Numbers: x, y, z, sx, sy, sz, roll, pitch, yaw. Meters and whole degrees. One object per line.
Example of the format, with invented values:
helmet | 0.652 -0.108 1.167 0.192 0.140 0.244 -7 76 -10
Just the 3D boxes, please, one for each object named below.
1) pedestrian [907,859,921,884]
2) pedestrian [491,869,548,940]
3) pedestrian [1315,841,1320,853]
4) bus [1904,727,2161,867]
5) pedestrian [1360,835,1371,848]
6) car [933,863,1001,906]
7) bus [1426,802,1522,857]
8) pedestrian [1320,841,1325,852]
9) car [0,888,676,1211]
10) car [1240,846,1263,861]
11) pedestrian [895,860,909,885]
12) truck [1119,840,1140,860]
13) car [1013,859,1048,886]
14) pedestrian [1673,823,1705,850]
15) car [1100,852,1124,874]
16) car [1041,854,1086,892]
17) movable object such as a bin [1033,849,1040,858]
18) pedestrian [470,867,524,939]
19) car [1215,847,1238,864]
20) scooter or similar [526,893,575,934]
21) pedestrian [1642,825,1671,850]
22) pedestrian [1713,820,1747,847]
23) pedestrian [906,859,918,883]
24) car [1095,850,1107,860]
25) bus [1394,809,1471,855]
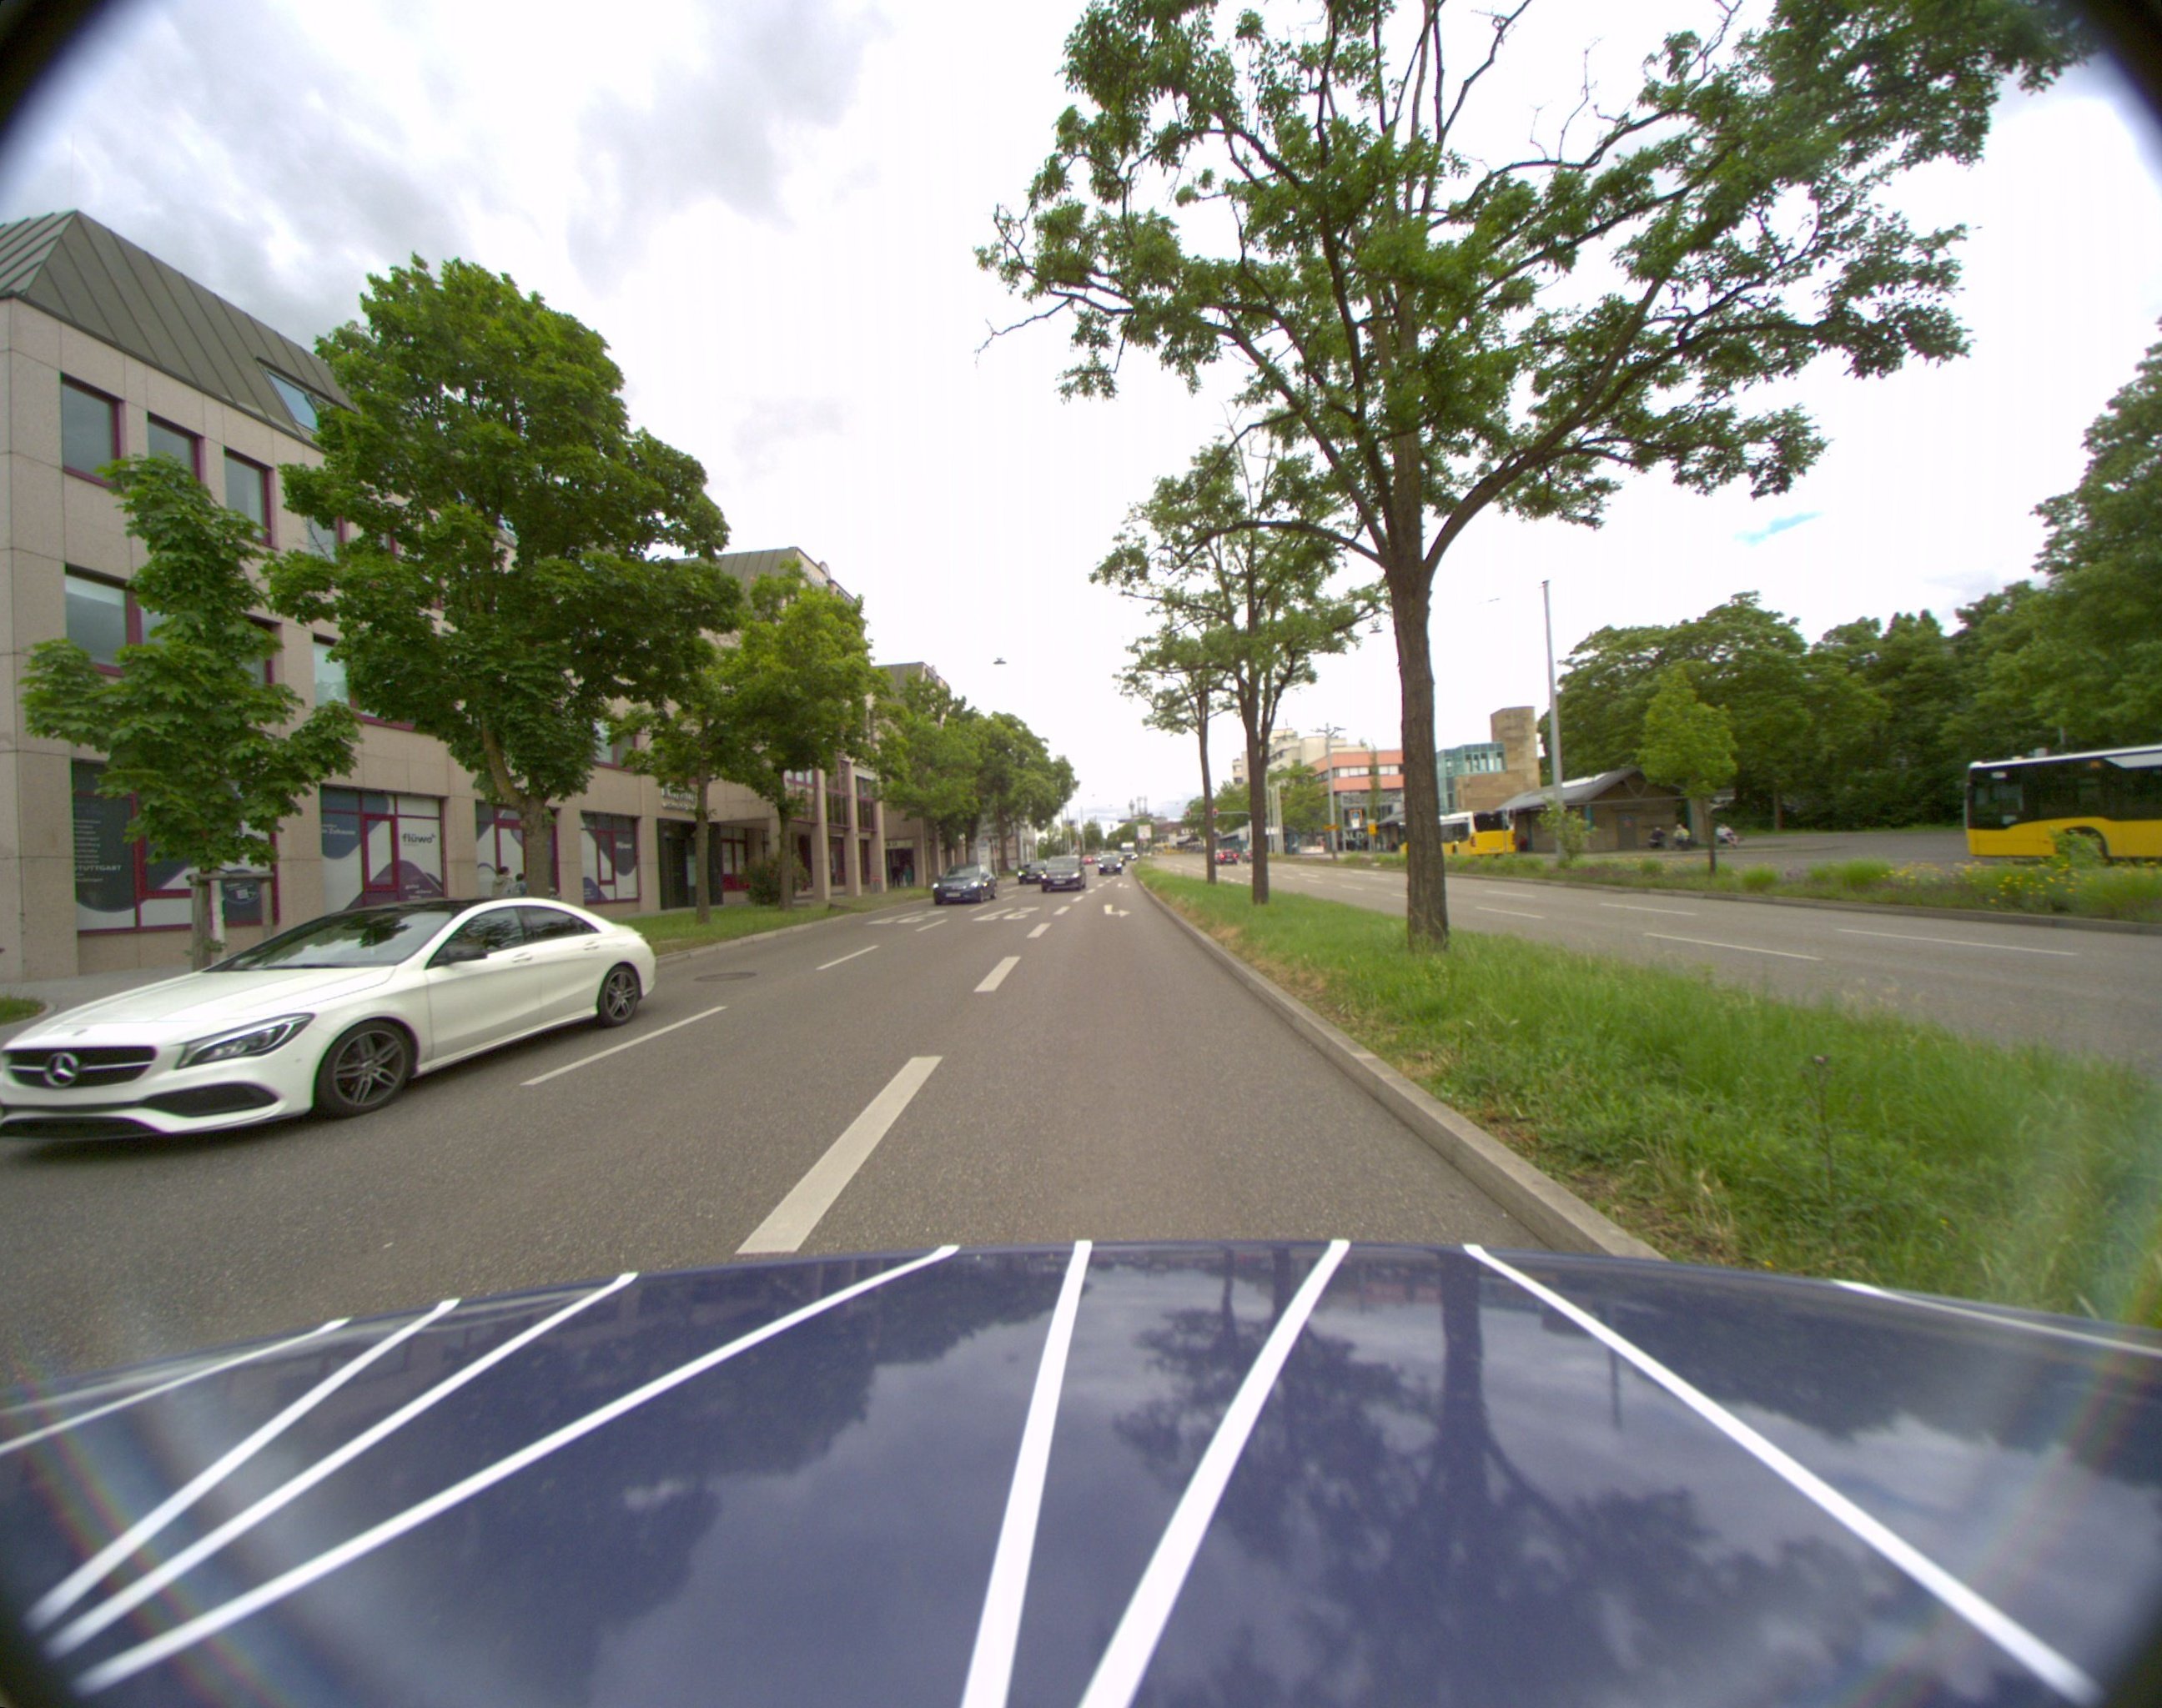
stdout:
pedestrian | -11.233 1.167 51.169 0.659 1.681 0.843 -1 1 5
pedestrian | -13.705 1.214 18.563 0.556 1.643 0.962 -1 1 7
pedestrian | 32.143 -0.924 103.353 0.529 1.539 0.754 -3 1 18
bus | 25.965 -1.353 17.419 3.090 3.144 10.740 -3 0 4
pedestrian | 33.472 -1.513 89.373 0.992 1.452 0.591 -3 1 -6
car | -4.277 1.108 29.184 1.972 1.431 4.312 -1 0 0
bus | 25.856 -1.514 50.575 2.814 3.113 9.306 -5 0 10
pedestrian | 33.005 -0.999 103.705 0.485 1.539 0.383 -3 1 -6
car | -5.707 1.191 6.482 1.798 1.464 4.699 -3 1 2
car | 18.267 -0.069 81.521 1.819 1.499 4.001 -3 1 6
pedestrian | -12.060 1.230 51.295 0.659 1.681 0.843 -1 1 5
truck | 8.347 -0.778 132.165 3.118 3.209 6.523 -4 1 1
car | -3.035 1.083 46.629 1.768 1.440 4.420 -3 1 0
pedestrian | 30.364 -0.858 37.967 0.859 1.283 0.894 -3 1 -22
car | 2.447 0.676 59.452 1.763 1.531 4.048 -2 0 3
car | -0.804 0.847 36.047 1.972 1.631 4.312 -1 0 0
movable object such as a bin | -5.314 -0.075 90.728 0.627 1.098 0.710 -3 0 5
pedestrian | -14.468 1.196 18.834 0.568 1.690 0.829 -3 1 5
car | 14.449 0.137 75.506 1.662 1.499 3.769 -3 1 2
scooter or similar | -13.591 1.513 19.469 0.585 0.988 0.847 -1 1 7
pedestrian | 30.362 -0.860 40.086 0.859 1.247 0.894 -3 1 -27
pedestrian | 31.773 -0.981 37.197 0.895 1.247 0.858 -3 0 2
pedestrian | -11.009 1.110 49.578 0.562 1.541 0.544 -1 1 5
car | 3.488 0.158 132.402 2.020 1.759 4.001 -3 0 3
bus | 27.374 -1.602 59.715 2.781 3.113 9.444 -5 0 9
